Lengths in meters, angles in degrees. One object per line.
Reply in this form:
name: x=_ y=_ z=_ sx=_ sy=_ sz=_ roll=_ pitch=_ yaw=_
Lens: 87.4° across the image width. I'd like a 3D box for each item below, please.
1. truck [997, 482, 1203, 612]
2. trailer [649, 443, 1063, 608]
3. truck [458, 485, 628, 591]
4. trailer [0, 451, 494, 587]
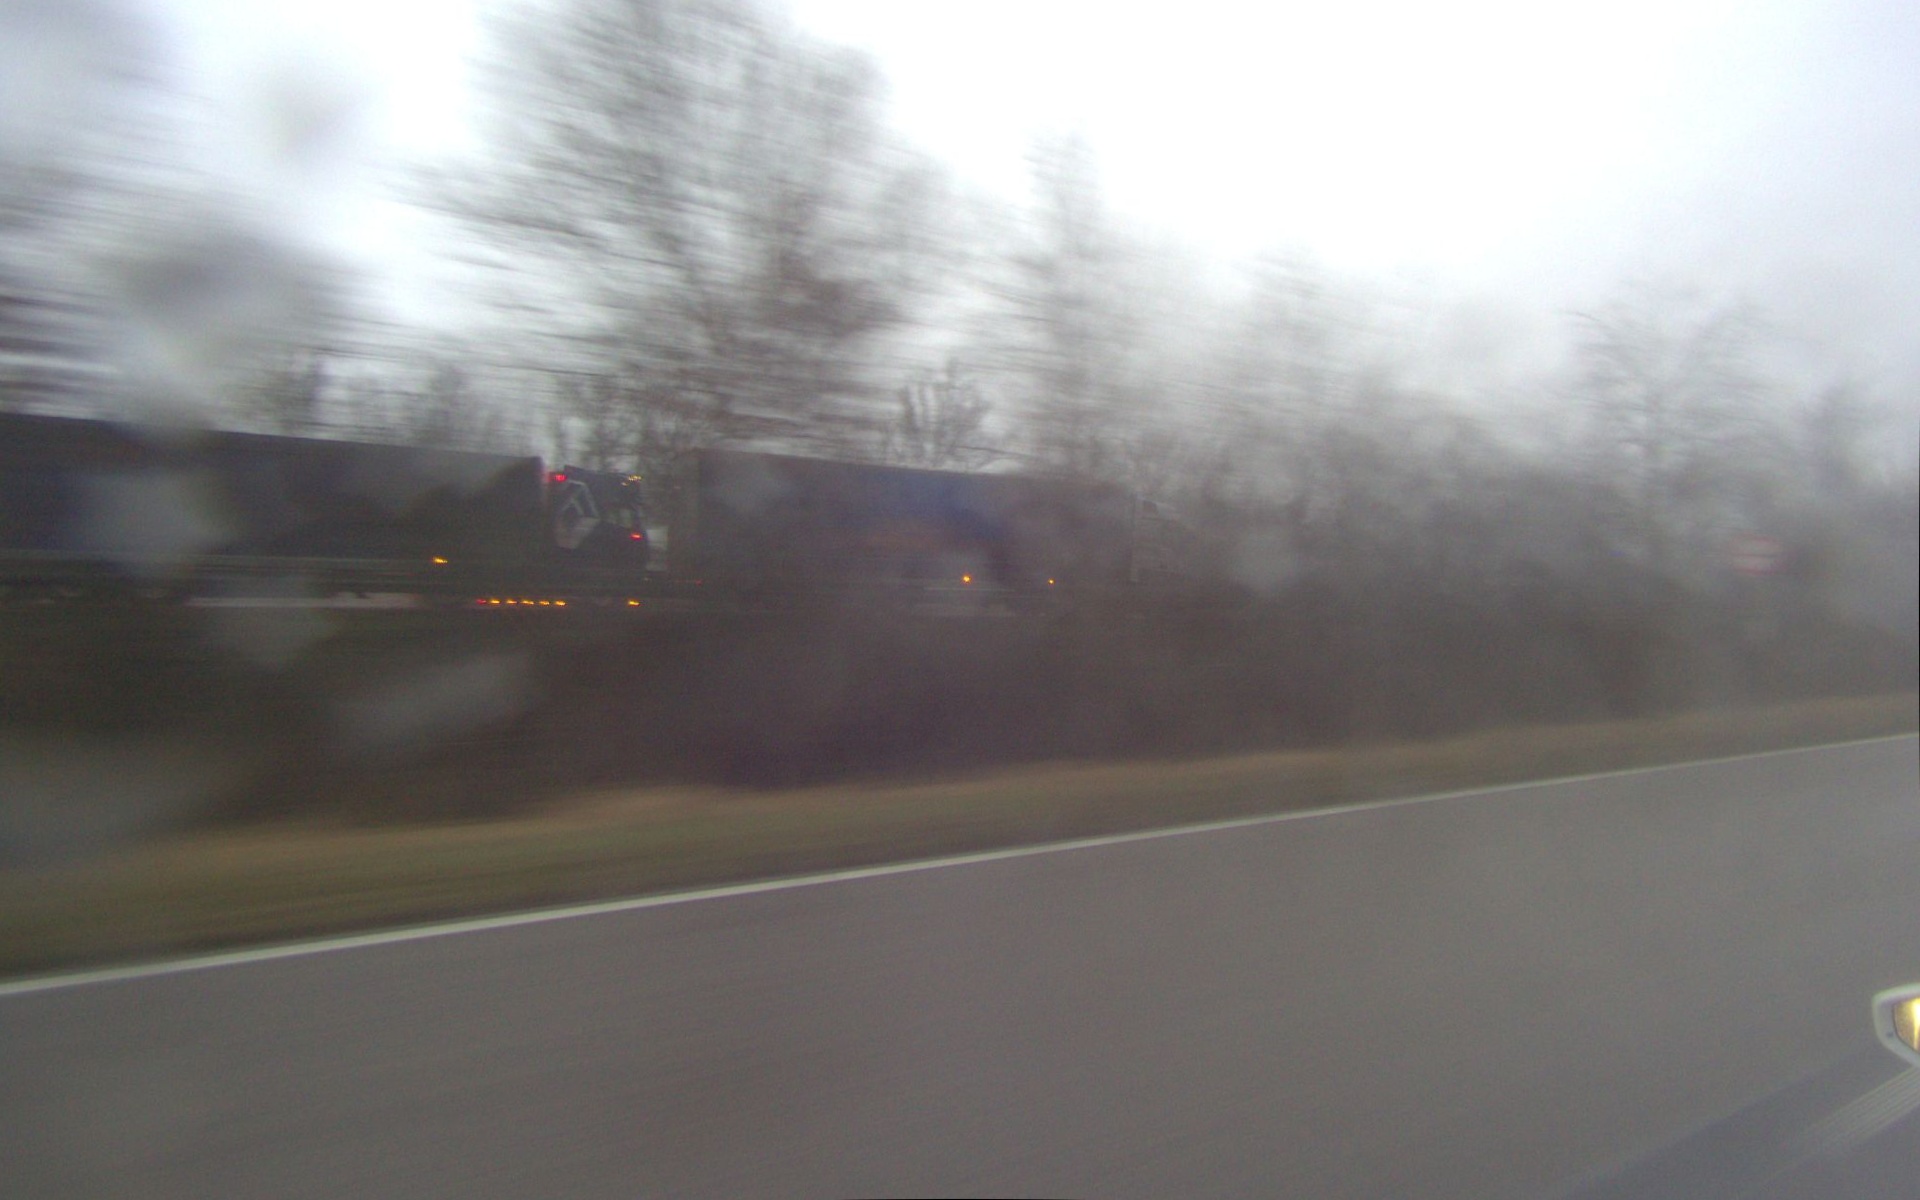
truck: x=4.500 y=-1.524 z=32.168 sx=5.997 sy=3.680 sz=2.977 roll=1 pitch=-1 yaw=-31
trailer: x=-2.549 y=-1.730 z=27.921 sx=11.256 sy=3.682 sz=2.983 roll=2 pitch=-1 yaw=-31
truck: x=-11.308 y=-1.573 z=27.201 sx=3.953 sy=2.468 sz=2.518 roll=1 pitch=-2 yaw=-30
trailer: x=-17.320 y=-1.746 z=23.618 sx=11.367 sy=2.456 sz=2.497 roll=2 pitch=-2 yaw=-30
